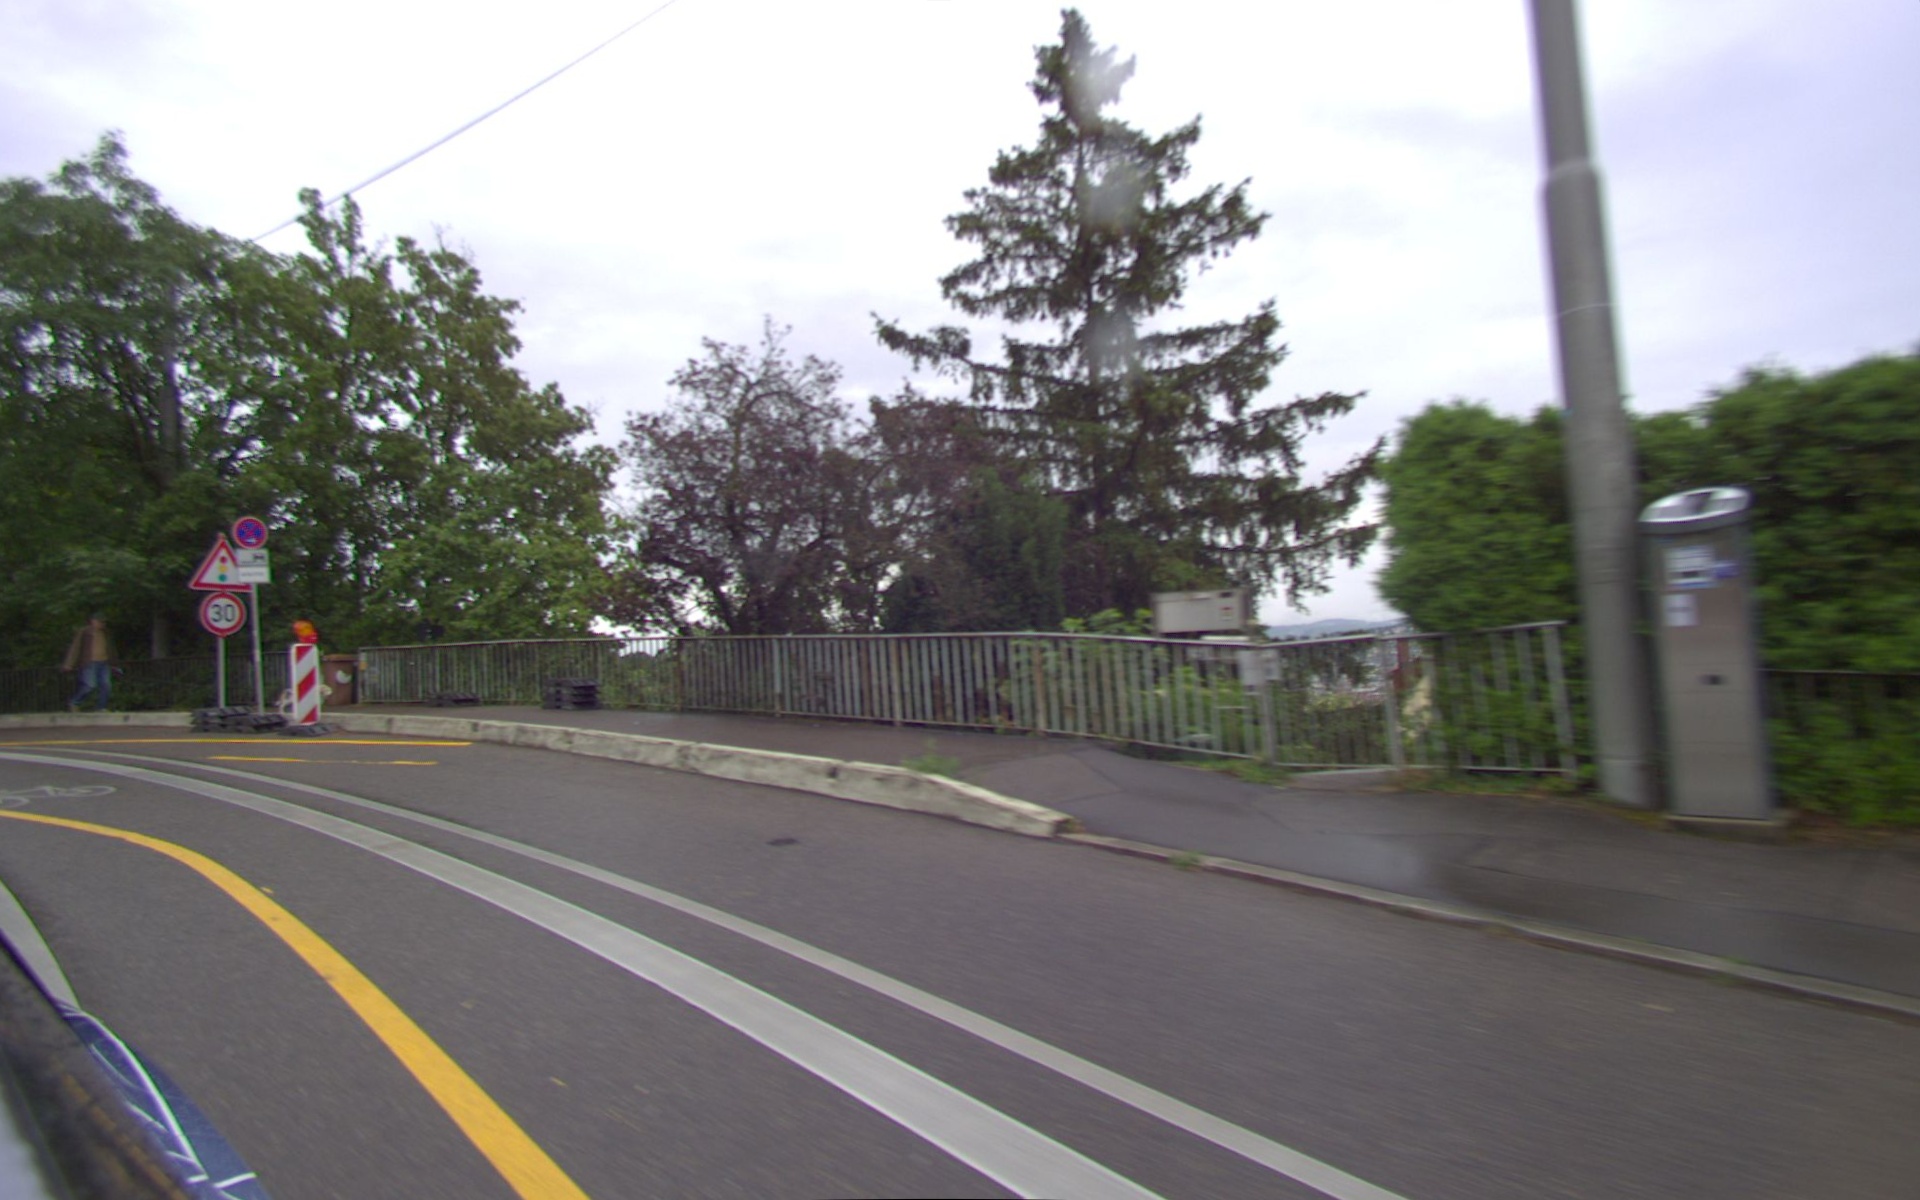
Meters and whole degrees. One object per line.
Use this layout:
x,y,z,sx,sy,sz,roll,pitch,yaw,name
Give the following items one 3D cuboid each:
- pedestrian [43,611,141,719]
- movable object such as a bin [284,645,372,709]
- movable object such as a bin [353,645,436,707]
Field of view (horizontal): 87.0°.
-14.845,1.106,17.326,0.972,1.781,0.920,-2,-2,18,pedestrian
-11.555,1.401,18.516,1.022,1.115,0.980,-3,-4,28,movable object such as a bin
-10.744,1.436,19.226,1.022,1.115,0.980,-5,-4,28,movable object such as a bin
